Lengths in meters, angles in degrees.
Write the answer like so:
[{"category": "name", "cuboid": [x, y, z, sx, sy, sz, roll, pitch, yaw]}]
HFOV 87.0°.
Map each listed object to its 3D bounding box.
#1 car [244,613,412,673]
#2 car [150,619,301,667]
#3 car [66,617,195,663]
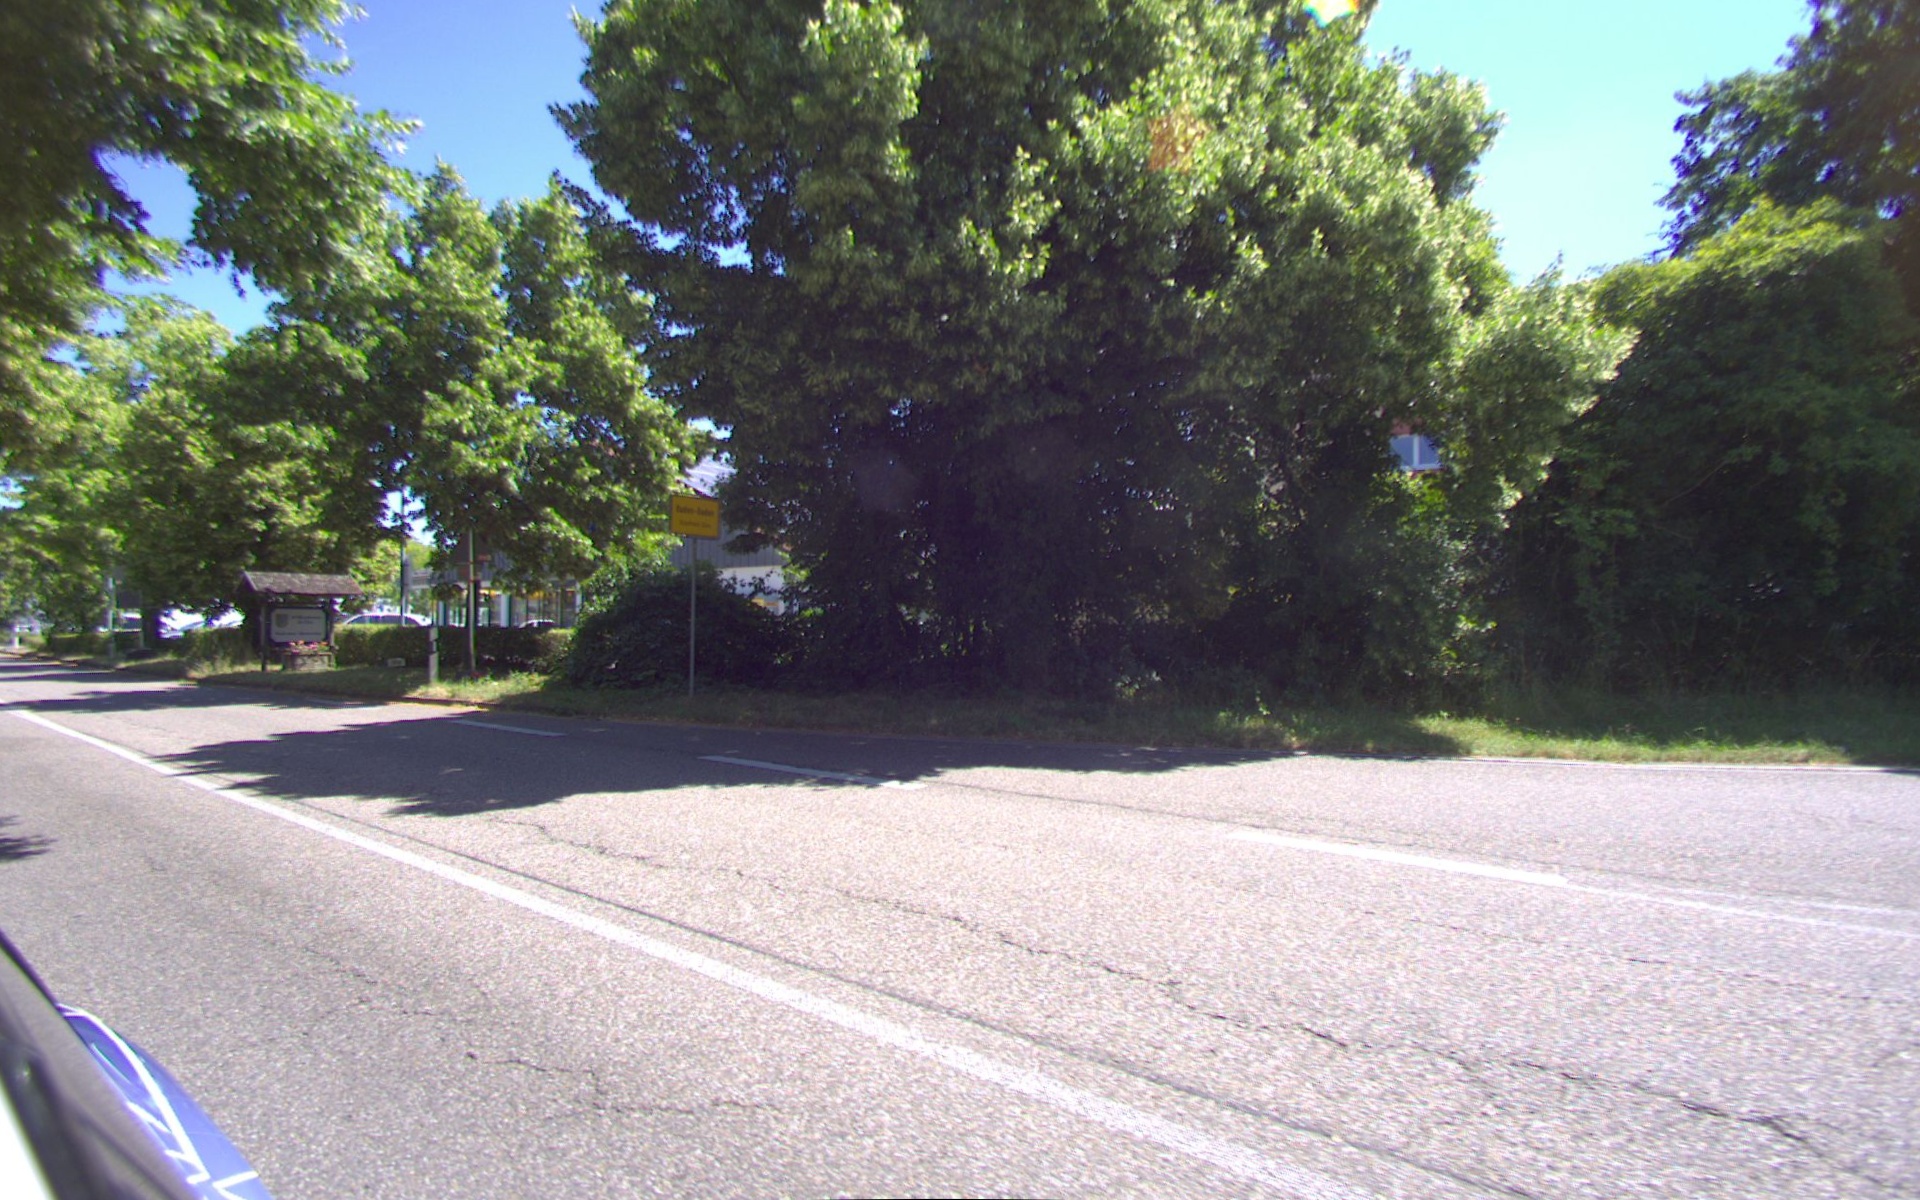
[{"category": "car", "cuboid": [-21.174, 1.390, 34.047, 2.069, 1.789, 4.360, -1, 0, 37]}, {"category": "car", "cuboid": [-28.309, 1.613, 39.121, 1.892, 1.632, 4.360, -1, 0, 37]}, {"category": "car", "cuboid": [-38.425, 1.805, 46.981, 1.901, 1.995, 4.318, -1, -1, 35]}]
